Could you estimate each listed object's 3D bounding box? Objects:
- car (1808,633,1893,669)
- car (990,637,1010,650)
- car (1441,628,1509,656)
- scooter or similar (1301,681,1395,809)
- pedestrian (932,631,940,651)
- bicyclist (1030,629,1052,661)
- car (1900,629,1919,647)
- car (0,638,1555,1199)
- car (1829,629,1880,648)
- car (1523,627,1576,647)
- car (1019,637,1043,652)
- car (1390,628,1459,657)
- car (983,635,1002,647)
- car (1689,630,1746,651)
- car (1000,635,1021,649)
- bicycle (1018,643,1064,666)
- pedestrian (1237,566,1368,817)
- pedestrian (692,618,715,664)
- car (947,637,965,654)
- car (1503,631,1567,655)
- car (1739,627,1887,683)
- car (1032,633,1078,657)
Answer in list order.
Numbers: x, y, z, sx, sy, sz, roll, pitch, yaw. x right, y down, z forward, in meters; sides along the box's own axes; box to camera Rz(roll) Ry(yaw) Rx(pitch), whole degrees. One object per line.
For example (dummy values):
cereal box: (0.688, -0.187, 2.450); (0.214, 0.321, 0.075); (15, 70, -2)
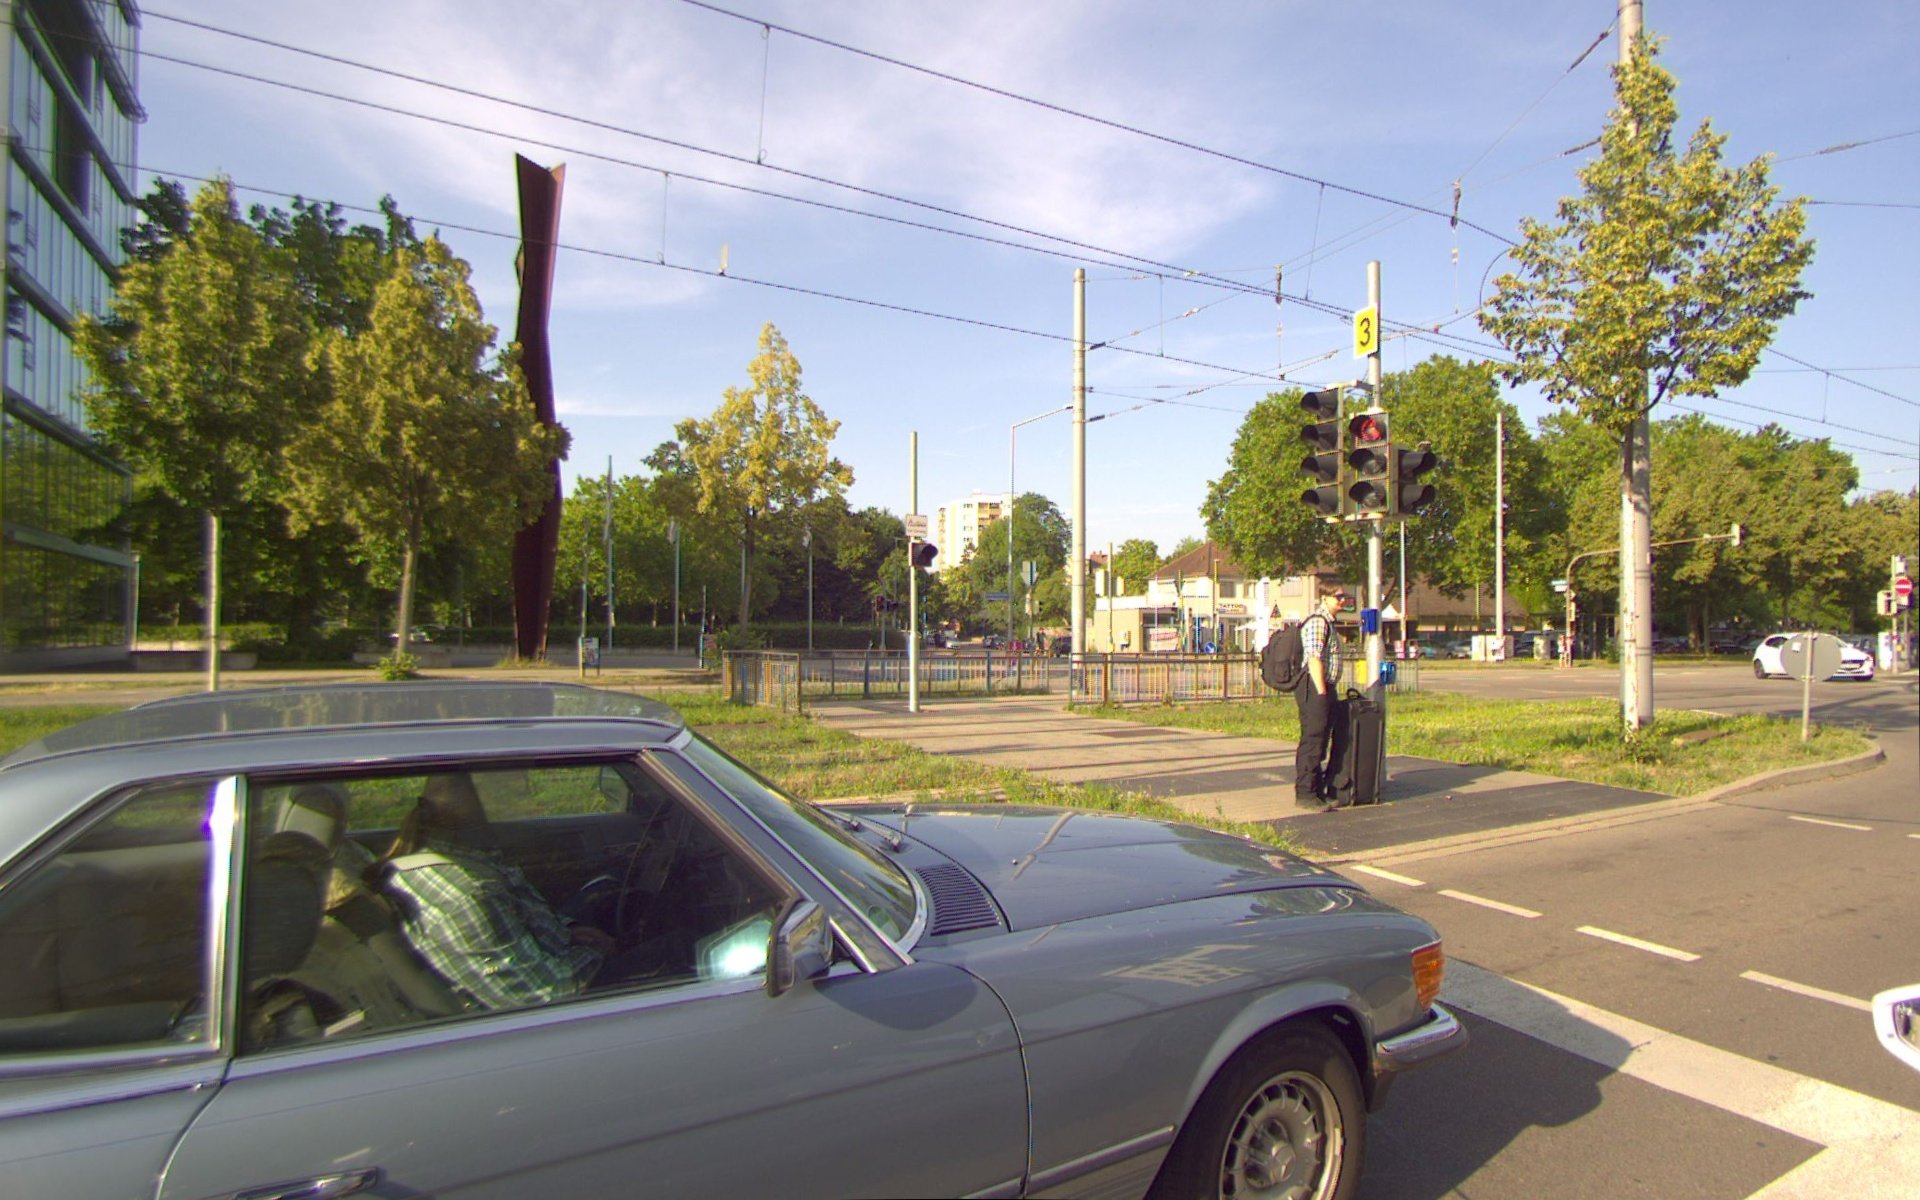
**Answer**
car: (40.275, 2.304, 45.402); (4.526, 1.480, 1.719); (4, -3, -33)
car: (4.661, 5.065, 117.652); (1.667, 1.491, 3.941); (0, -2, -8)
car: (33.427, 2.720, 65.204); (3.945, 1.773, 1.876); (1, -2, -25)
scooter or similar: (3.073, 1.126, 7.966); (0.424, 0.919, 0.546); (1, 0, -29)
pedestrian: (-1.986, 3.409, 83.140); (0.654, 1.654, 0.664); (0, -1, -2)
bicyclist: (3.855, 2.125, 47.729); (0.836, 1.512, 0.697); (-1, -2, 38)
car: (87.795, 3.485, 91.464); (3.945, 1.580, 1.876); (1, -2, -25)
car: (-0.789, 0.818, 2.195); (4.349, 1.348, 1.754); (1, 0, -31)
car: (76.682, 3.268, 86.087); (3.945, 1.580, 1.876); (1, -2, -25)
car: (47.866, 2.981, 81.570); (3.945, 1.580, 1.876); (1, -2, -25)
car: (7.047, 4.415, 100.310); (1.667, 1.491, 3.941); (0, -2, -8)
car: (29.203, 2.672, 63.129); (3.945, 1.773, 1.876); (1, -2, -25)
car: (3.954, 5.022, 123.441); (1.667, 1.491, 3.941); (0, -2, -8)
car: (58.613, 3.104, 77.723); (3.945, 1.580, 1.876); (1, -2, -25)
car: (5.574, 4.661, 111.823); (1.667, 1.491, 3.941); (0, -2, -8)
bicycle: (3.841, 2.590, 47.726); (2.168, 1.055, 0.697); (-1, -2, 38)
pedestrian: (2.615, 0.663, 7.702); (0.628, 1.816, 0.696); (1, 0, -29)
pedestrian: (-12.110, 1.924, 47.415); (0.864, 2.135, 0.724); (-1, -3, -1)
car: (-0.429, 5.099, 113.631); (1.961, 1.806, 4.000); (0, -2, -1)
car: (38.814, 2.878, 67.819); (3.945, 1.580, 1.876); (1, -2, -25)
car: (26.820, 1.672, 31.773); (1.960, 1.524, 4.095); (1, 0, 15)
car: (7.446, 3.525, 79.238); (1.971, 1.750, 3.979); (1, -2, -22)
